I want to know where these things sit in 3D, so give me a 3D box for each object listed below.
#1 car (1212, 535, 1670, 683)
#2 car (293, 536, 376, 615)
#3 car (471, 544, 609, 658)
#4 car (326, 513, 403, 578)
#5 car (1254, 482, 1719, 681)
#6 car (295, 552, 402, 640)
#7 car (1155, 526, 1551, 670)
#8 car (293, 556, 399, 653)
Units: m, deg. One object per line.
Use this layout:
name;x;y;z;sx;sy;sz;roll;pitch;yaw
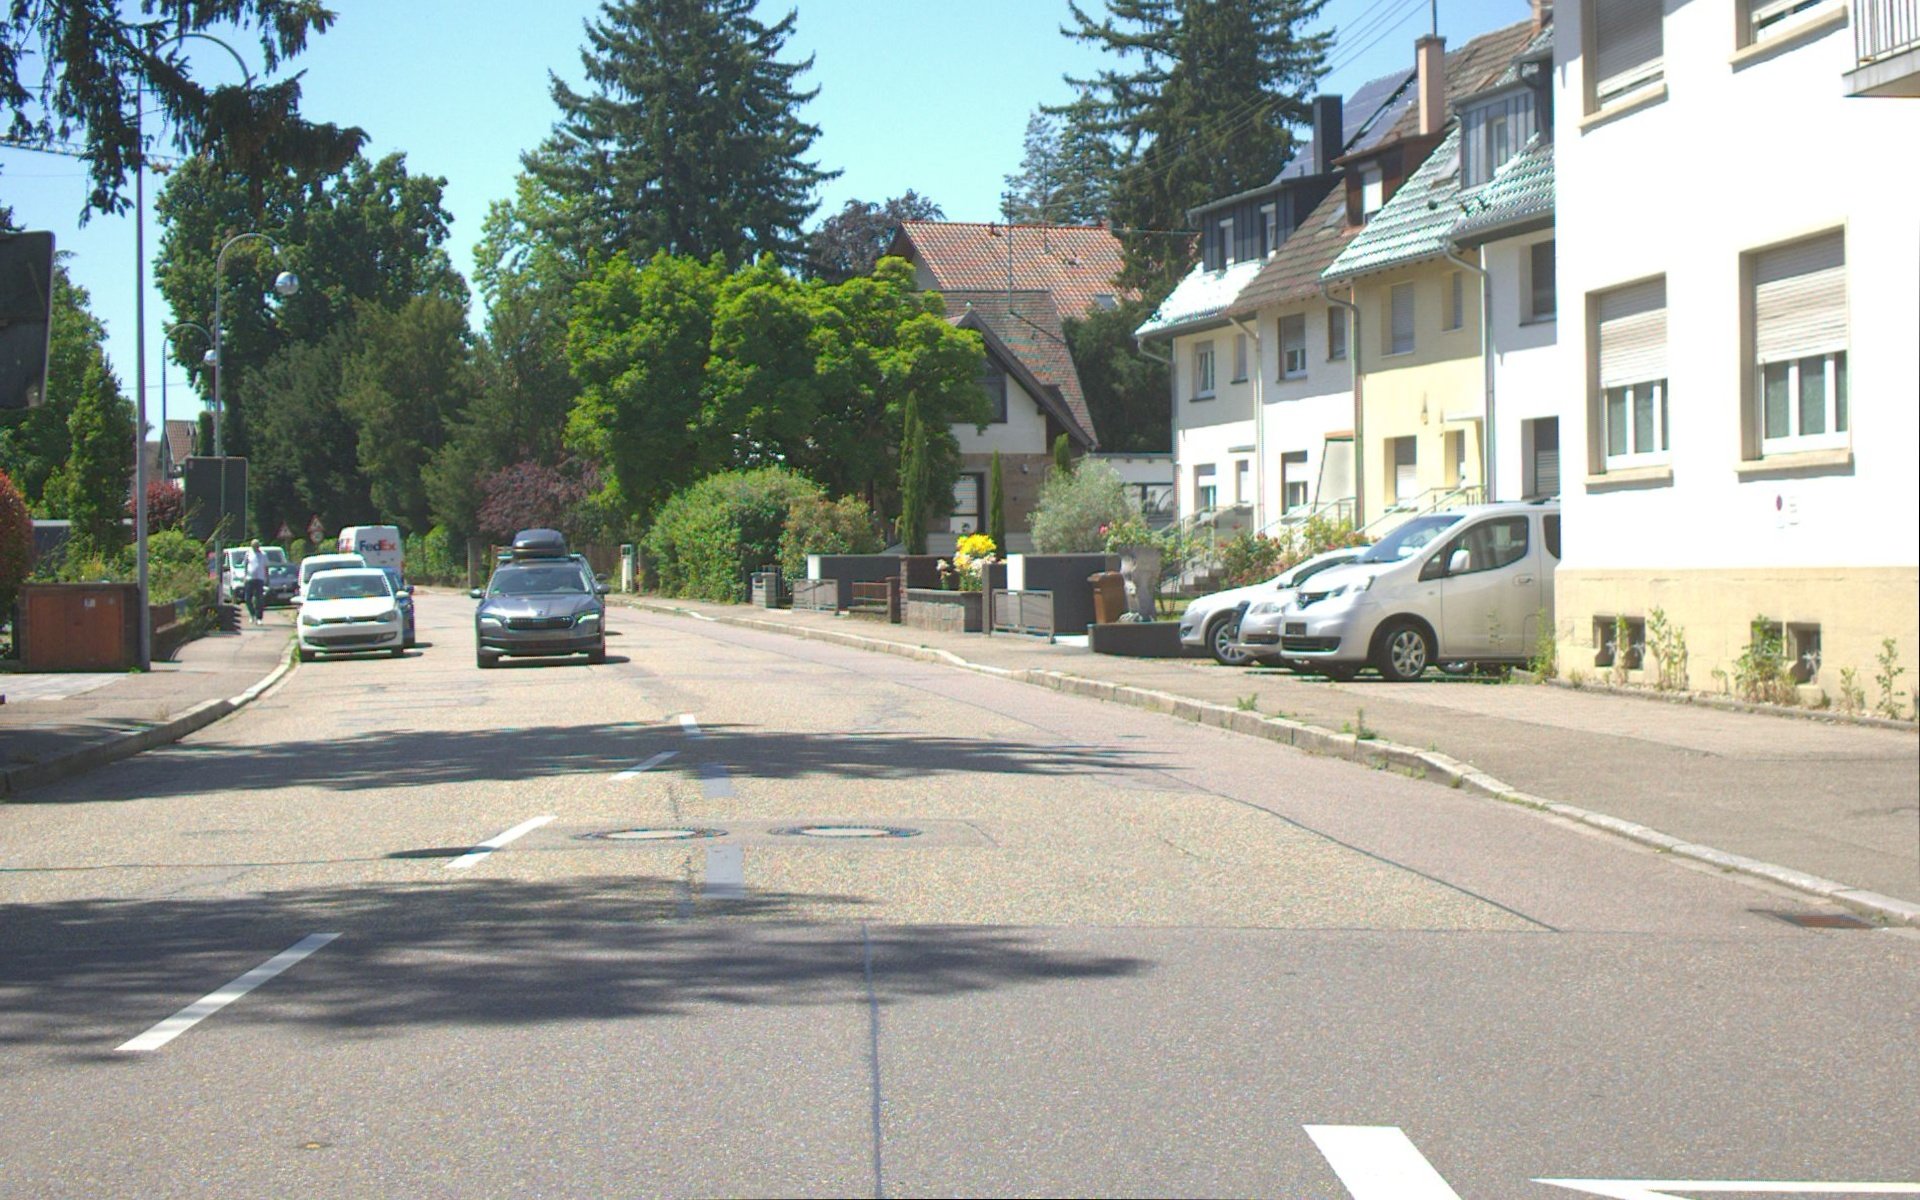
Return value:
car;5.252;0.088;37.853;4.639;1.404;1.769;2;1;-6
car;-14.756;-0.592;80.996;1.722;1.730;3.888;-3;1;-12
car;-5.920;-0.018;48.794;1.806;1.483;4.387;-2;1;-6
car;-22.268;-2.056;128.367;2.143;2.307;4.854;-2;2;-17
car;5.373;-0.188;35.187;4.289;1.824;1.740;2;1;-16
car;-11.058;-0.100;62.288;1.768;1.434;4.363;-3;2;-10
car;4.653;-0.023;40.744;4.296;1.542;1.754;2;-1;24
car;-10.035;0.044;56.320;1.578;1.418;3.942;-3;2;-10
